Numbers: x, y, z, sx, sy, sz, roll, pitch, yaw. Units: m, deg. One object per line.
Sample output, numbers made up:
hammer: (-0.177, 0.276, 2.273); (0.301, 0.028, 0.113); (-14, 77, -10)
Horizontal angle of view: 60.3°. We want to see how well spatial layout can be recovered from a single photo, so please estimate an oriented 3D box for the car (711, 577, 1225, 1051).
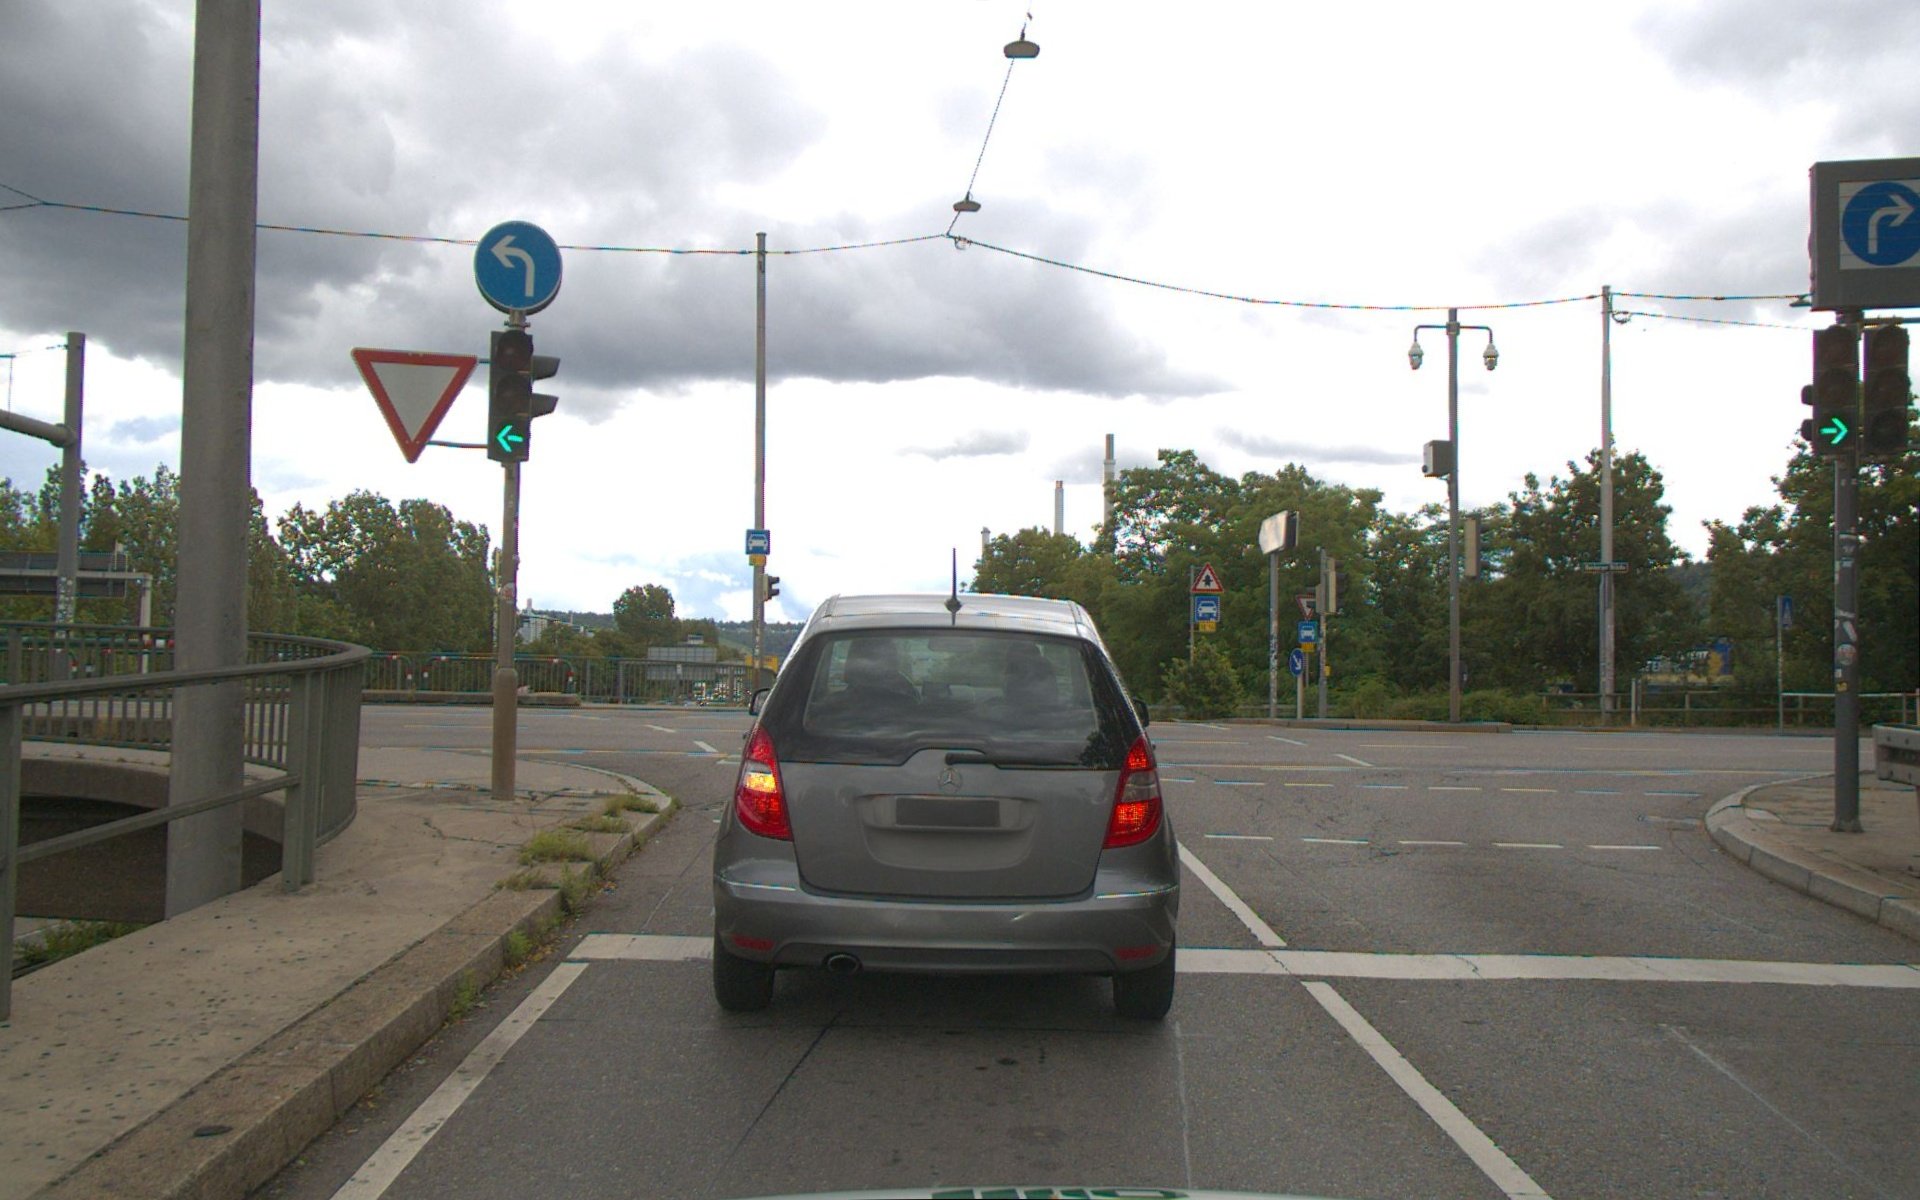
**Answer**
car: (0.010, 0.734, 7.320); (1.704, 1.570, 3.540); (1, -1, -1)
